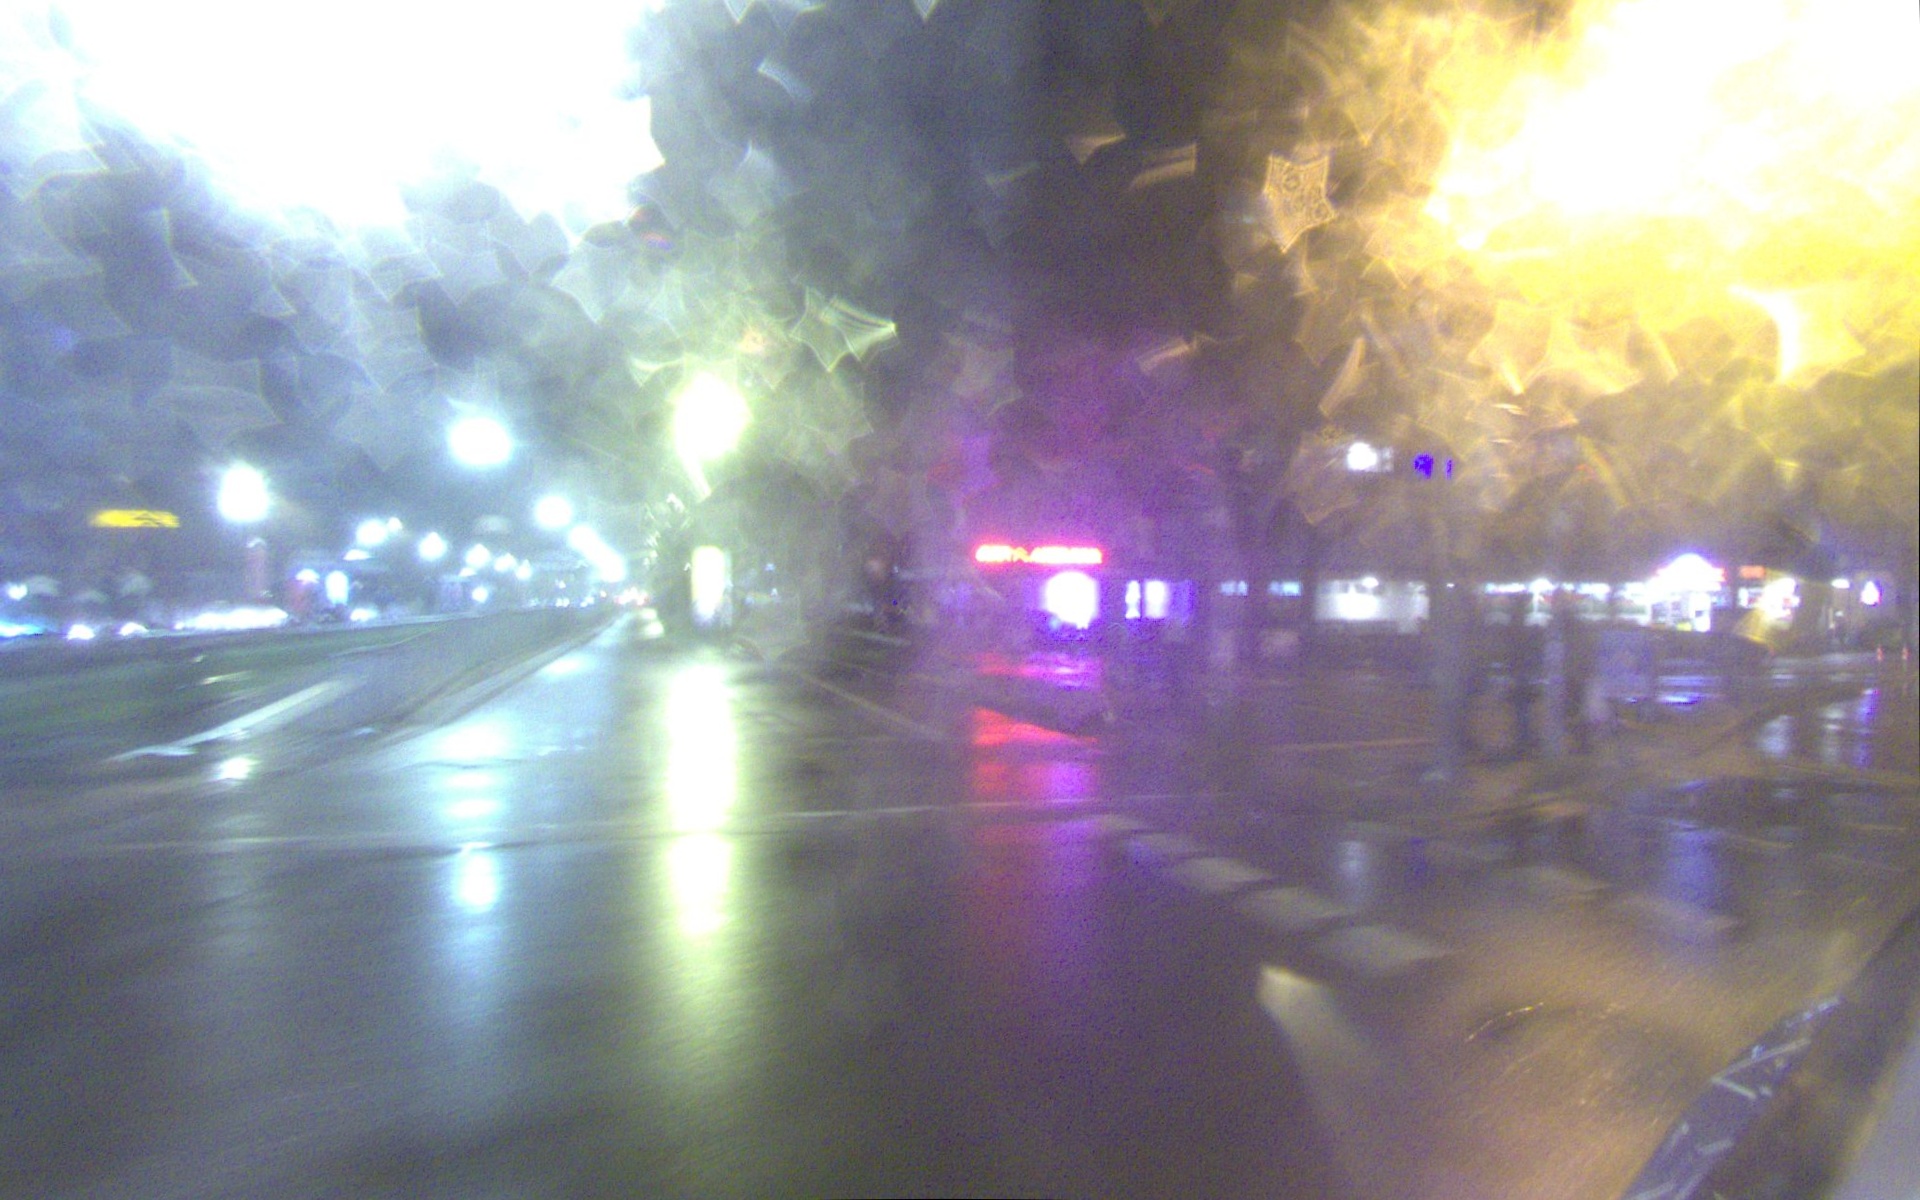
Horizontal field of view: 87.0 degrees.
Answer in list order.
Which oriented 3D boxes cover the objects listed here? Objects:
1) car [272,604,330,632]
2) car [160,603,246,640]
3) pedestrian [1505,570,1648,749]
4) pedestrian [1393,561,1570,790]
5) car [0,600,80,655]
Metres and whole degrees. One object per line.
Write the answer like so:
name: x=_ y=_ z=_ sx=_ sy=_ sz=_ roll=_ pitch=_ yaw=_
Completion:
car: x=-39.433 y=1.050 z=60.667 sx=1.882 sy=1.599 sz=4.599 roll=0 pitch=0 yaw=-20
car: x=-34.600 y=0.935 z=46.415 sx=1.882 sy=1.599 sz=4.599 roll=0 pitch=0 yaw=-20
pedestrian: x=6.779 y=0.610 z=11.148 sx=0.835 sy=1.849 sz=1.110 roll=1 pitch=-1 yaw=-37
pedestrian: x=4.553 y=0.611 z=8.873 sx=0.835 sy=1.849 sz=1.111 roll=1 pitch=-1 yaw=-35
car: x=-29.999 y=0.824 z=31.867 sx=1.882 sy=1.599 sz=4.599 roll=0 pitch=0 yaw=-20
